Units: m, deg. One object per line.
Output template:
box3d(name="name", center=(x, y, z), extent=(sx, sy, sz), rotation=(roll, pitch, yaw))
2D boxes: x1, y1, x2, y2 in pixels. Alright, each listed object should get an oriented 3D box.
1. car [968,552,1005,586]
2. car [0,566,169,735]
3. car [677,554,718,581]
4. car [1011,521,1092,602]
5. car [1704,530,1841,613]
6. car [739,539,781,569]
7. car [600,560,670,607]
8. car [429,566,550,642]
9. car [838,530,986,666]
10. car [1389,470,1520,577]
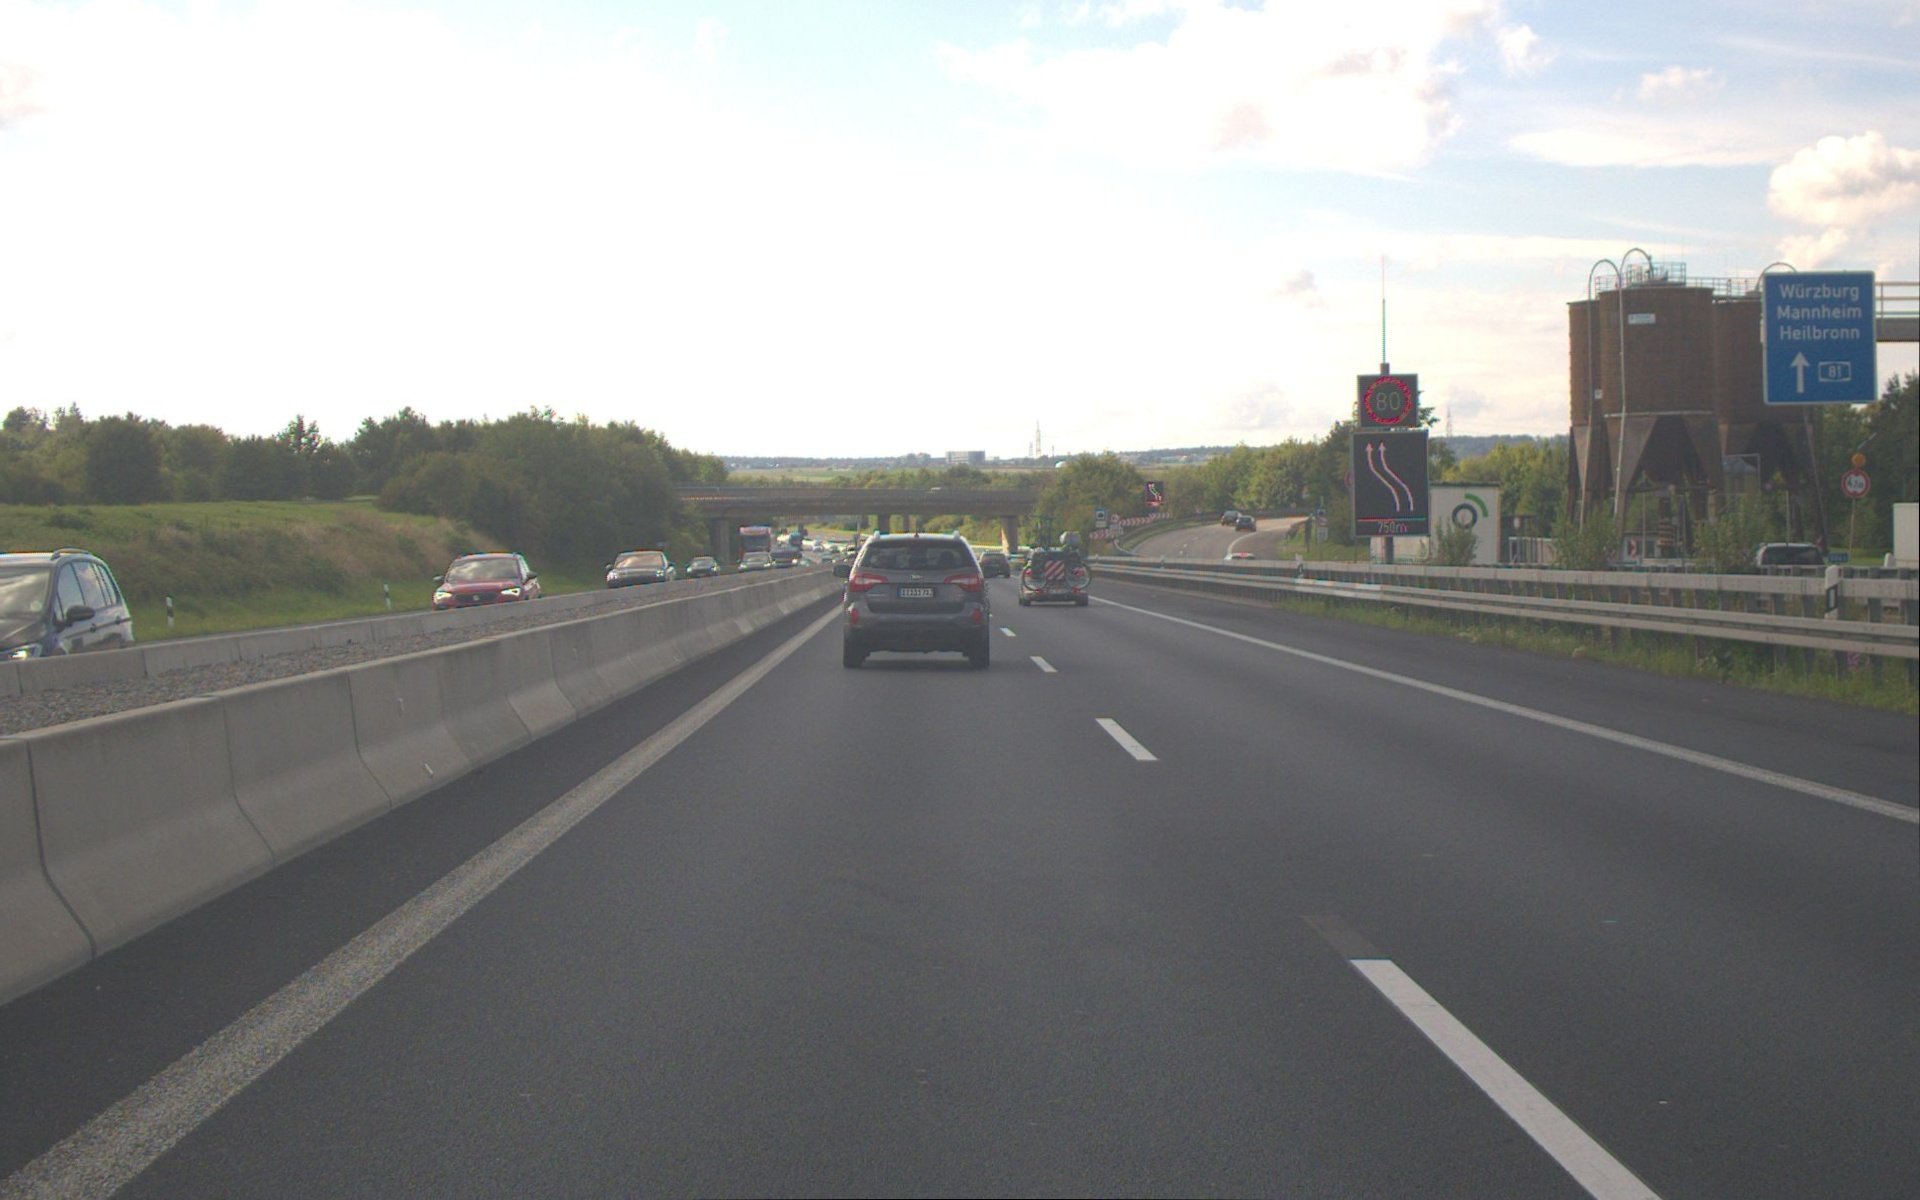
box3d(name="car", center=(1.477, -1.736, 192.317), extent=(1.975, 1.773, 4.120), rotation=(-2, 1, -1))
box3d(name="car", center=(-8.621, 0.425, 31.208), extent=(1.787, 1.393, 4.725), rotation=(-2, 1, -1))
box3d(name="car", center=(-15.313, -1.899, 200.664), extent=(1.993, 1.473, 4.692), rotation=(-2, 1, 0))
box3d(name="car", center=(2.442, -1.049, 92.772), extent=(1.993, 2.073, 4.000), rotation=(-2, 1, 0))
box3d(name="car", center=(17.871, -0.633, 75.795), extent=(1.993, 1.711, 4.000), rotation=(-2, 1, 0))
box3d(name="car", center=(-11.164, -2.591, 192.279), extent=(1.993, 1.567, 5.365), rotation=(-2, 1, 0))
box3d(name="car", center=(-10.324, -0.539, 109.519), extent=(1.787, 1.393, 4.623), rotation=(-2, 1, -1))
box3d(name="car", center=(-9.440, 0.056, 69.341), extent=(1.787, 1.393, 4.800), rotation=(-2, 1, -1))
box3d(name="car", center=(-0.580, -0.049, 44.239), extent=(1.750, 1.624, 3.609), rotation=(-2, 1, 1))
box3d(name="car", center=(18.096, -2.772, 126.331), extent=(3.576, 3.664, 7.549), rotation=(-2, 1, 0))
